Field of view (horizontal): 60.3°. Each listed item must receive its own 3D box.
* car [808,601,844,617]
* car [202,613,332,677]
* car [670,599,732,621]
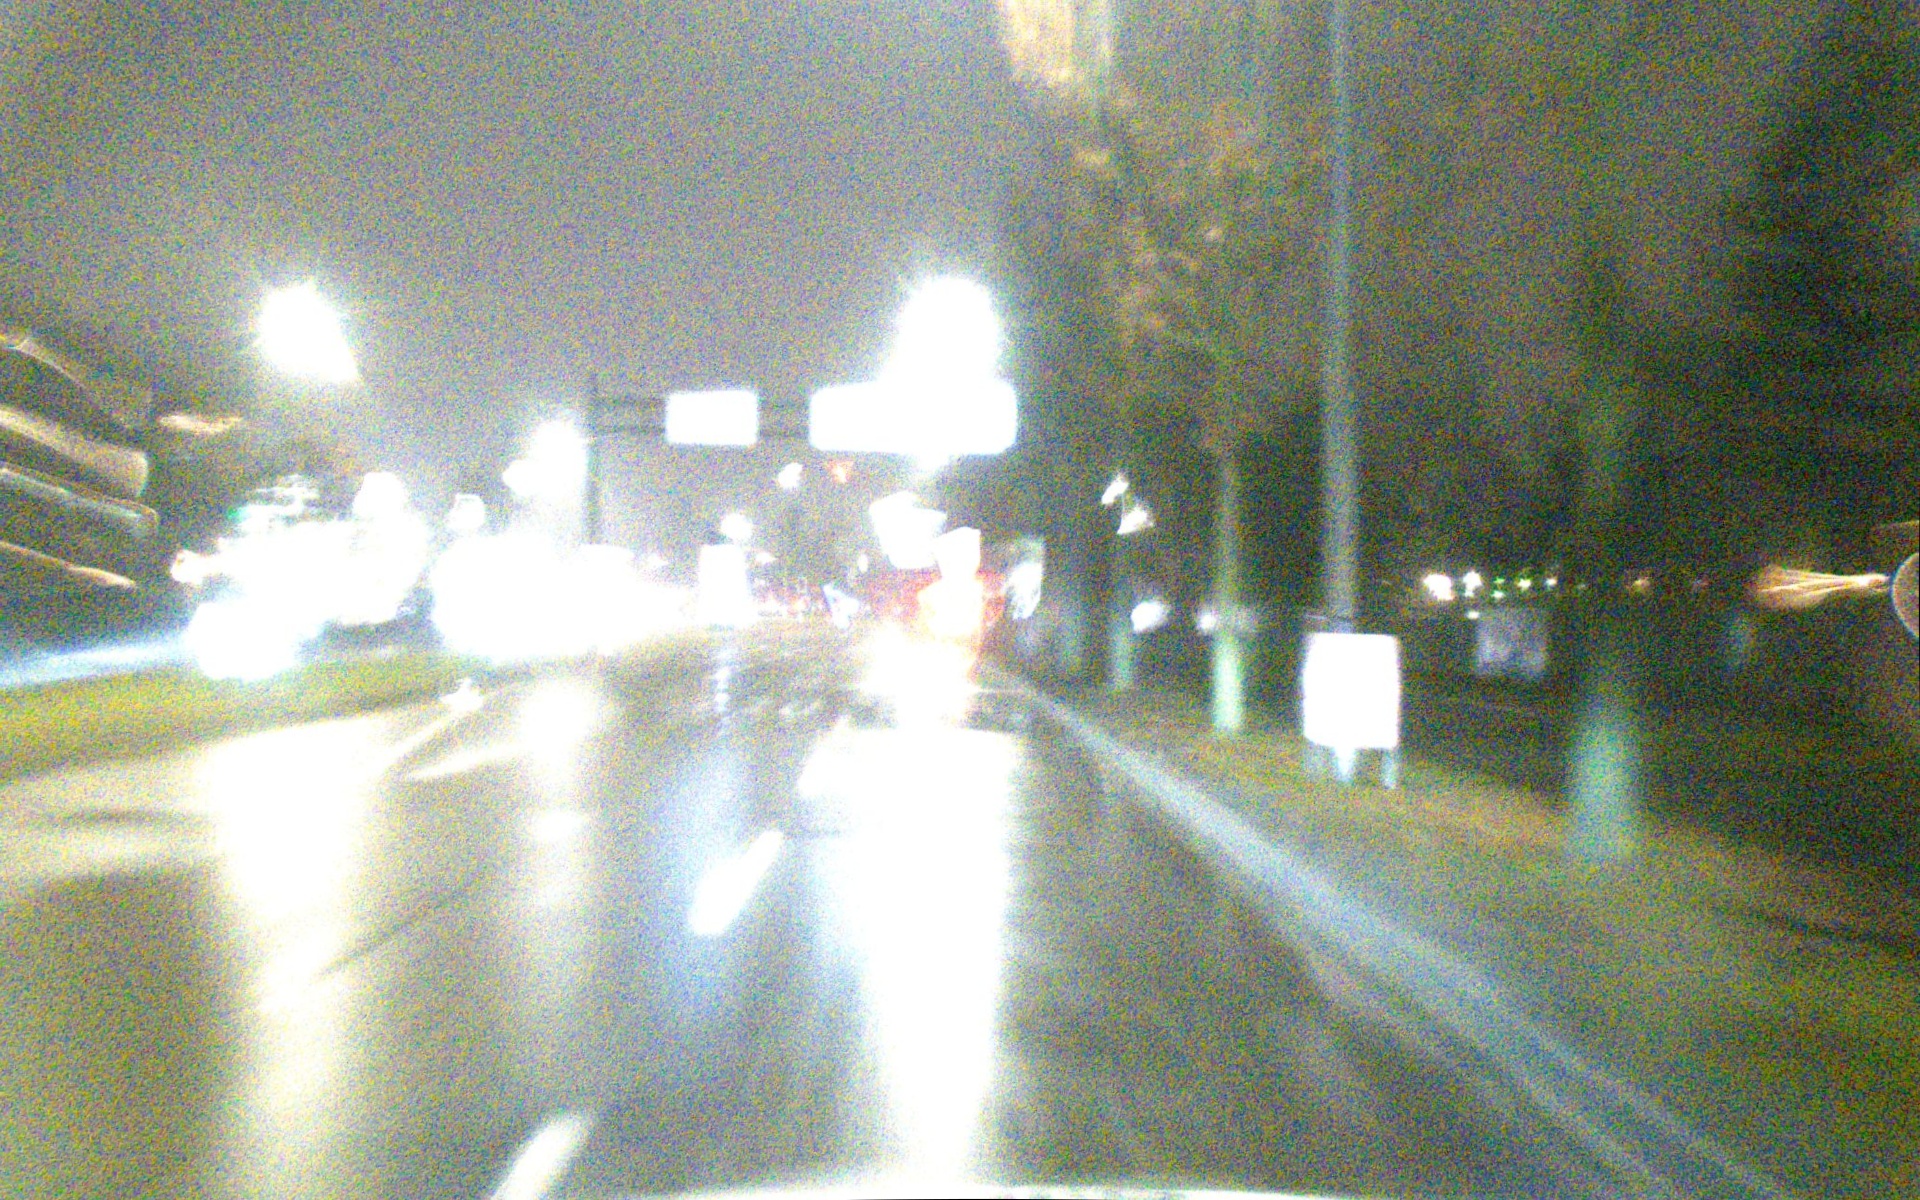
[{"bbox_3d":[-14.783,0.974,182.326,3.874,1.606,1.735,2,0,-5],"label":"car"},{"bbox_3d":[-20.264,1.274,48.569,1.983,1.713,4.546,2,0,-2],"label":"car"},{"bbox_3d":[-28.217,1.083,180.100,6.216,2.126,2.494,2,0,-27],"label":"car"}]
